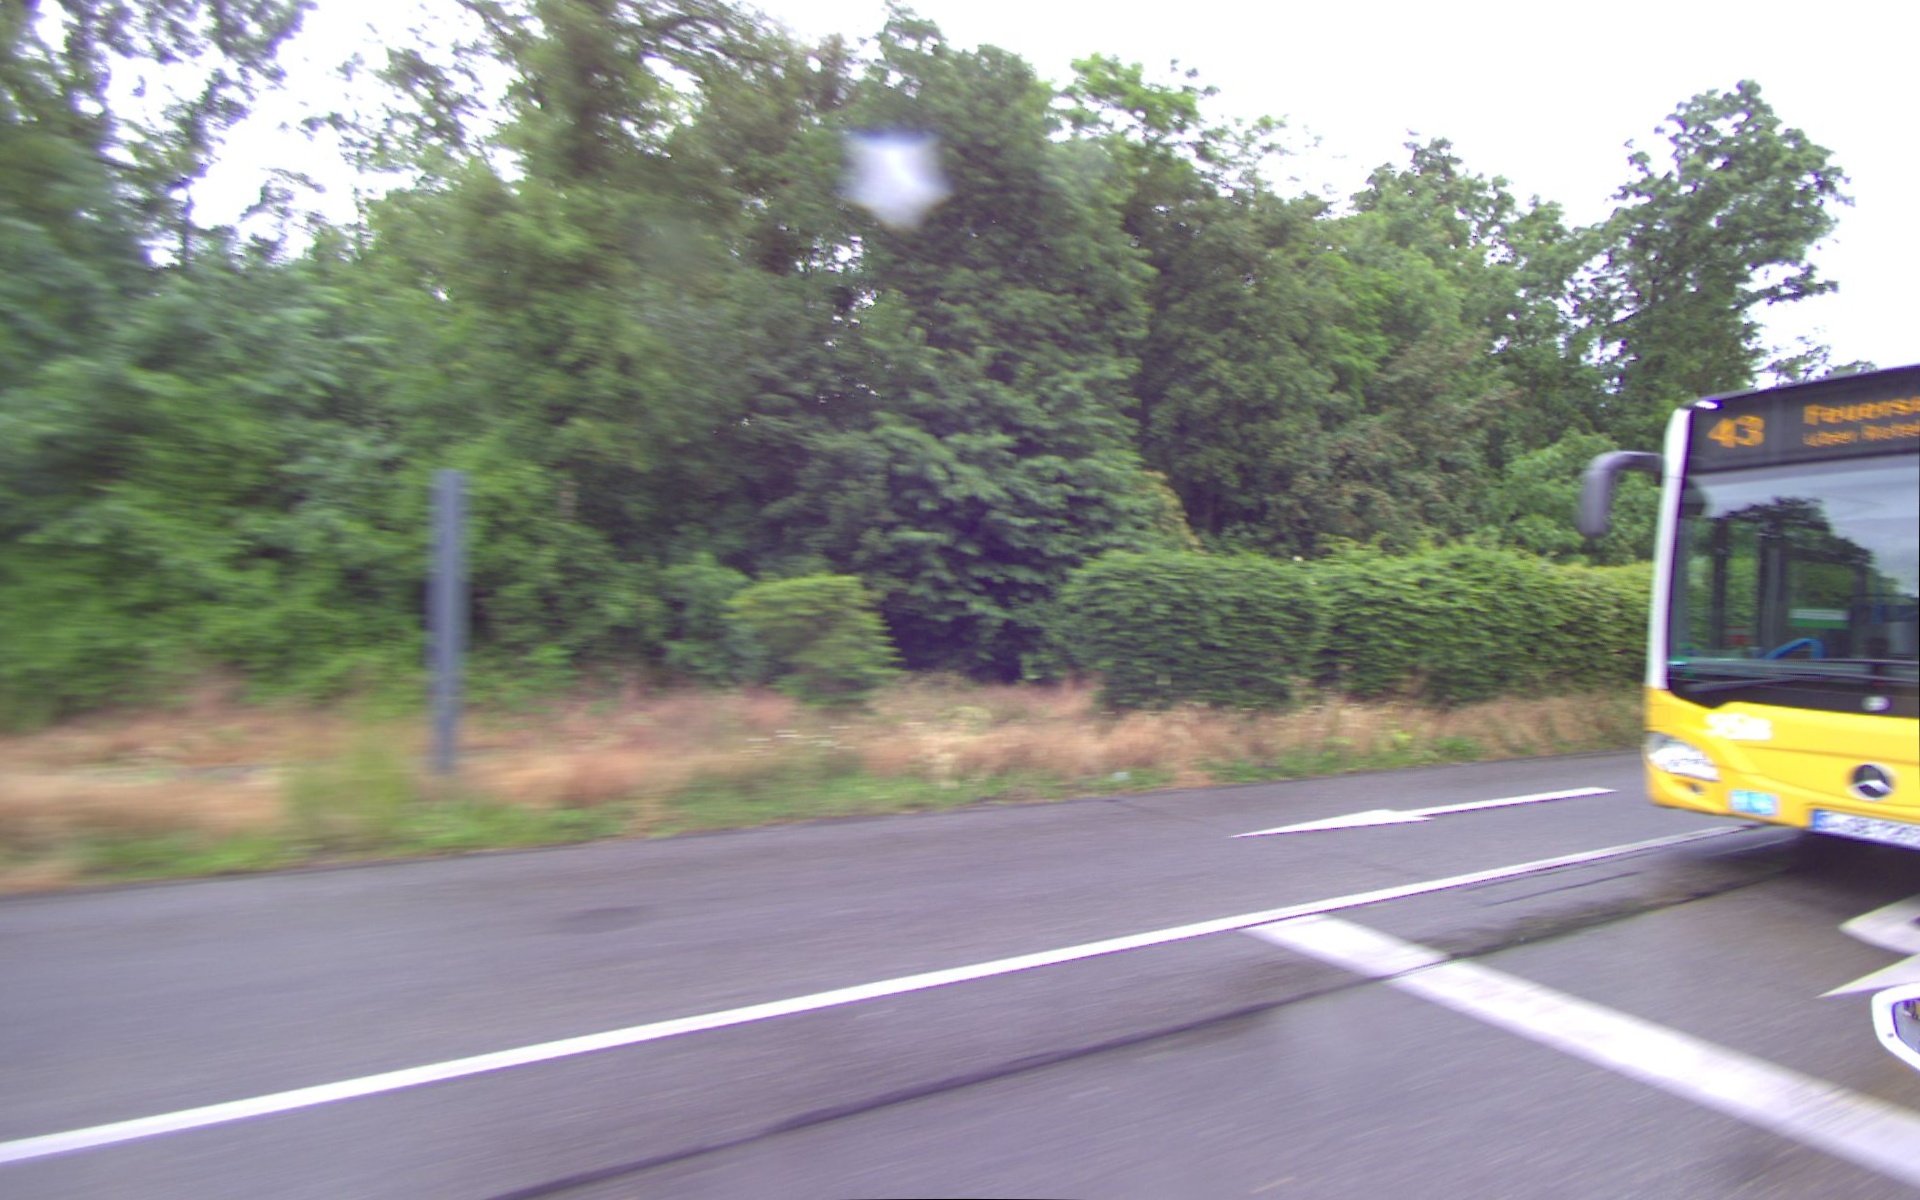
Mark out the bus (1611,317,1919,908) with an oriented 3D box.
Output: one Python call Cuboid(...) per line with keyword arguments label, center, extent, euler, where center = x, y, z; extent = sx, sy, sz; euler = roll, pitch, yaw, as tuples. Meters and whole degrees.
Cuboid(label="bus", center=(8.837, 0.179, 7.741), extent=(9.123, 3.085, 2.630), euler=(2, 0, -31))
